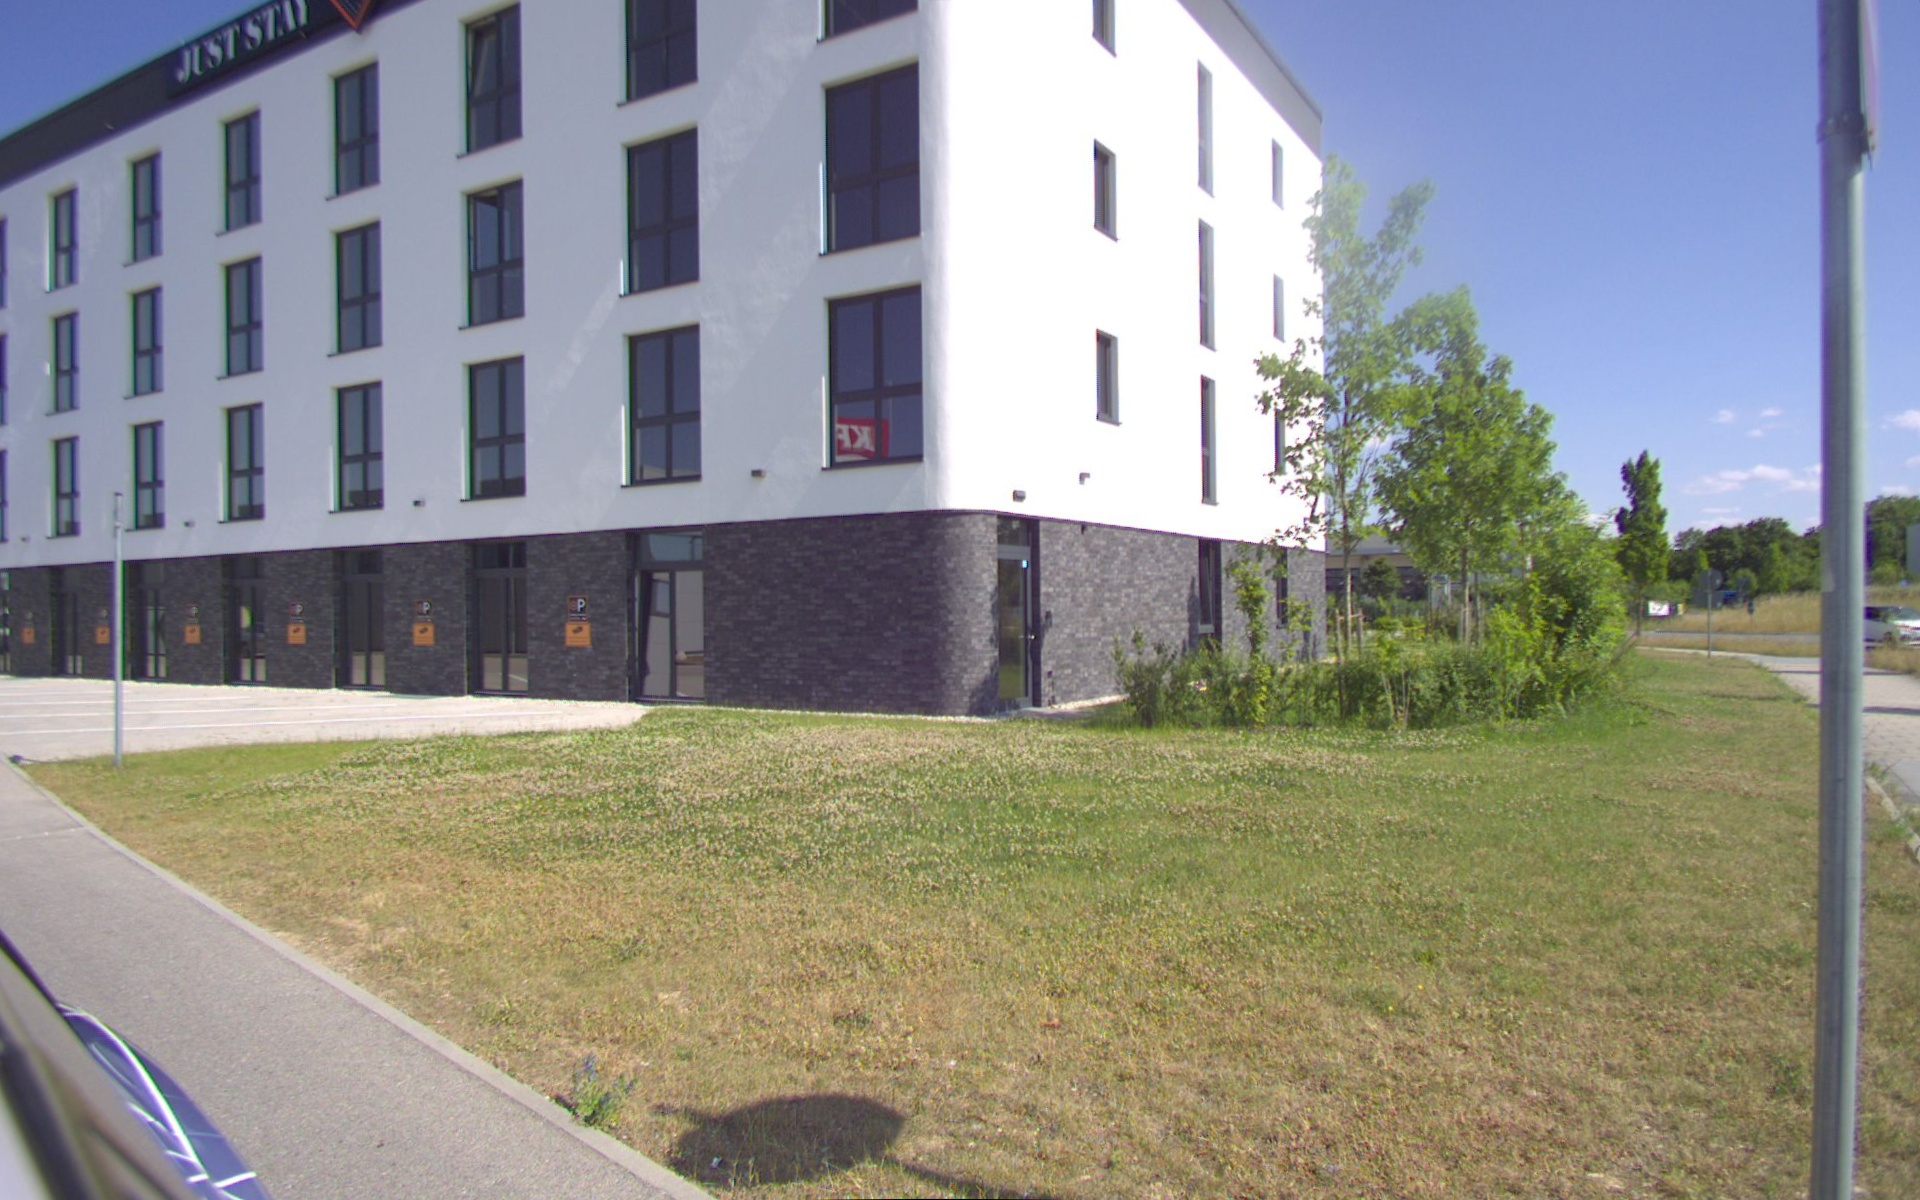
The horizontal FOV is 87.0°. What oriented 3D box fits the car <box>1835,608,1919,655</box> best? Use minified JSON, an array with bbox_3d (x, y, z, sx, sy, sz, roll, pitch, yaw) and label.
[{"bbox_3d":[31.520,1.059,34.161,1.461,1.501,2.994,-2,-2,6],"label":"car"}]
